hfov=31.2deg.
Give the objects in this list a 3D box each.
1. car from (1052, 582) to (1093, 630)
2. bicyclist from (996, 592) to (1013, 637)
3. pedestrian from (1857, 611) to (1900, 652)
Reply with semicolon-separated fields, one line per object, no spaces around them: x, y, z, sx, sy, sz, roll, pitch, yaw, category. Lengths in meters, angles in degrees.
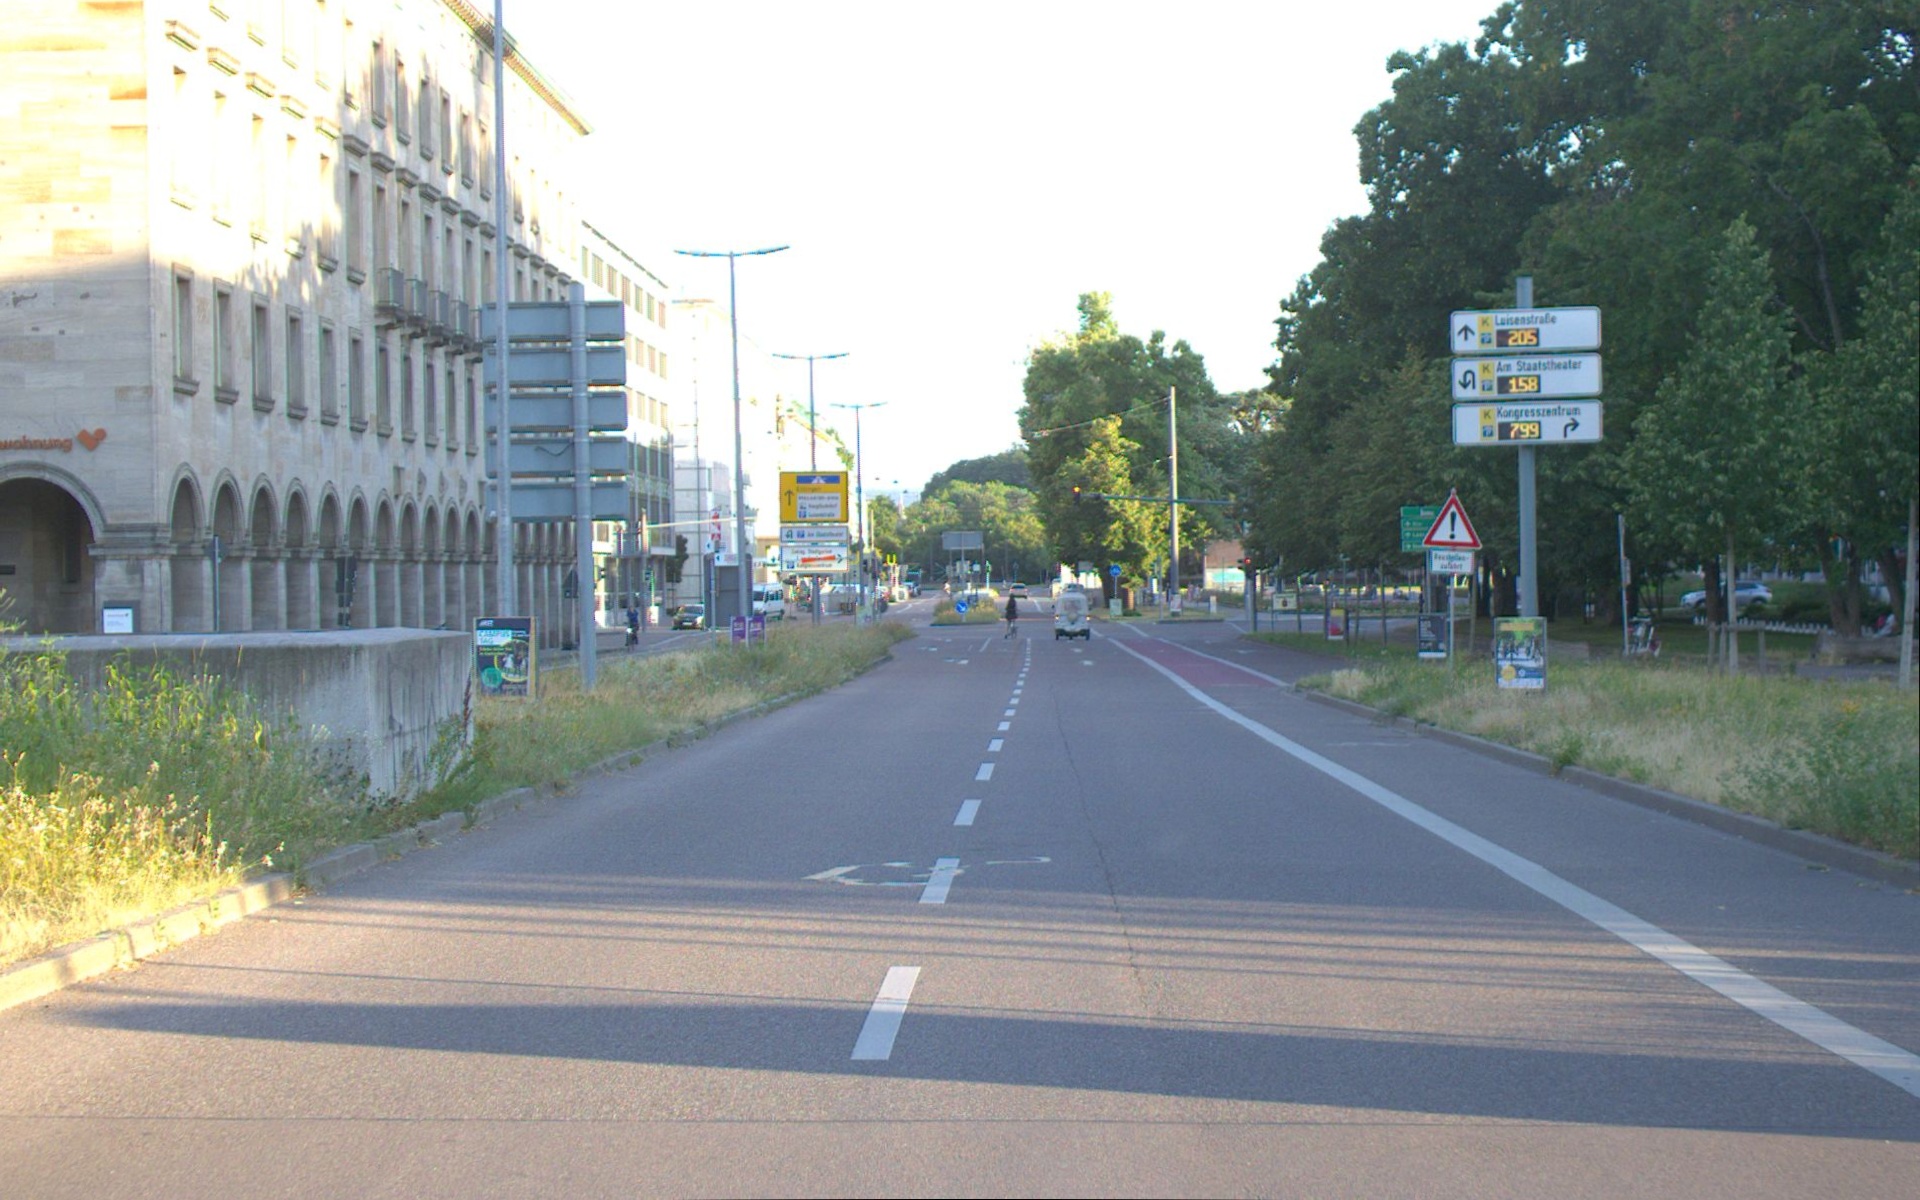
4.267;0.215;130.030;1.459;1.775;2.564;-1;0;3;car
1.703;0.558;132.292;0.628;1.687;0.748;-1;-1;0;bicyclist
20.189;0.686;75.567;0.679;0.881;0.593;1;0;-23;pedestrian
